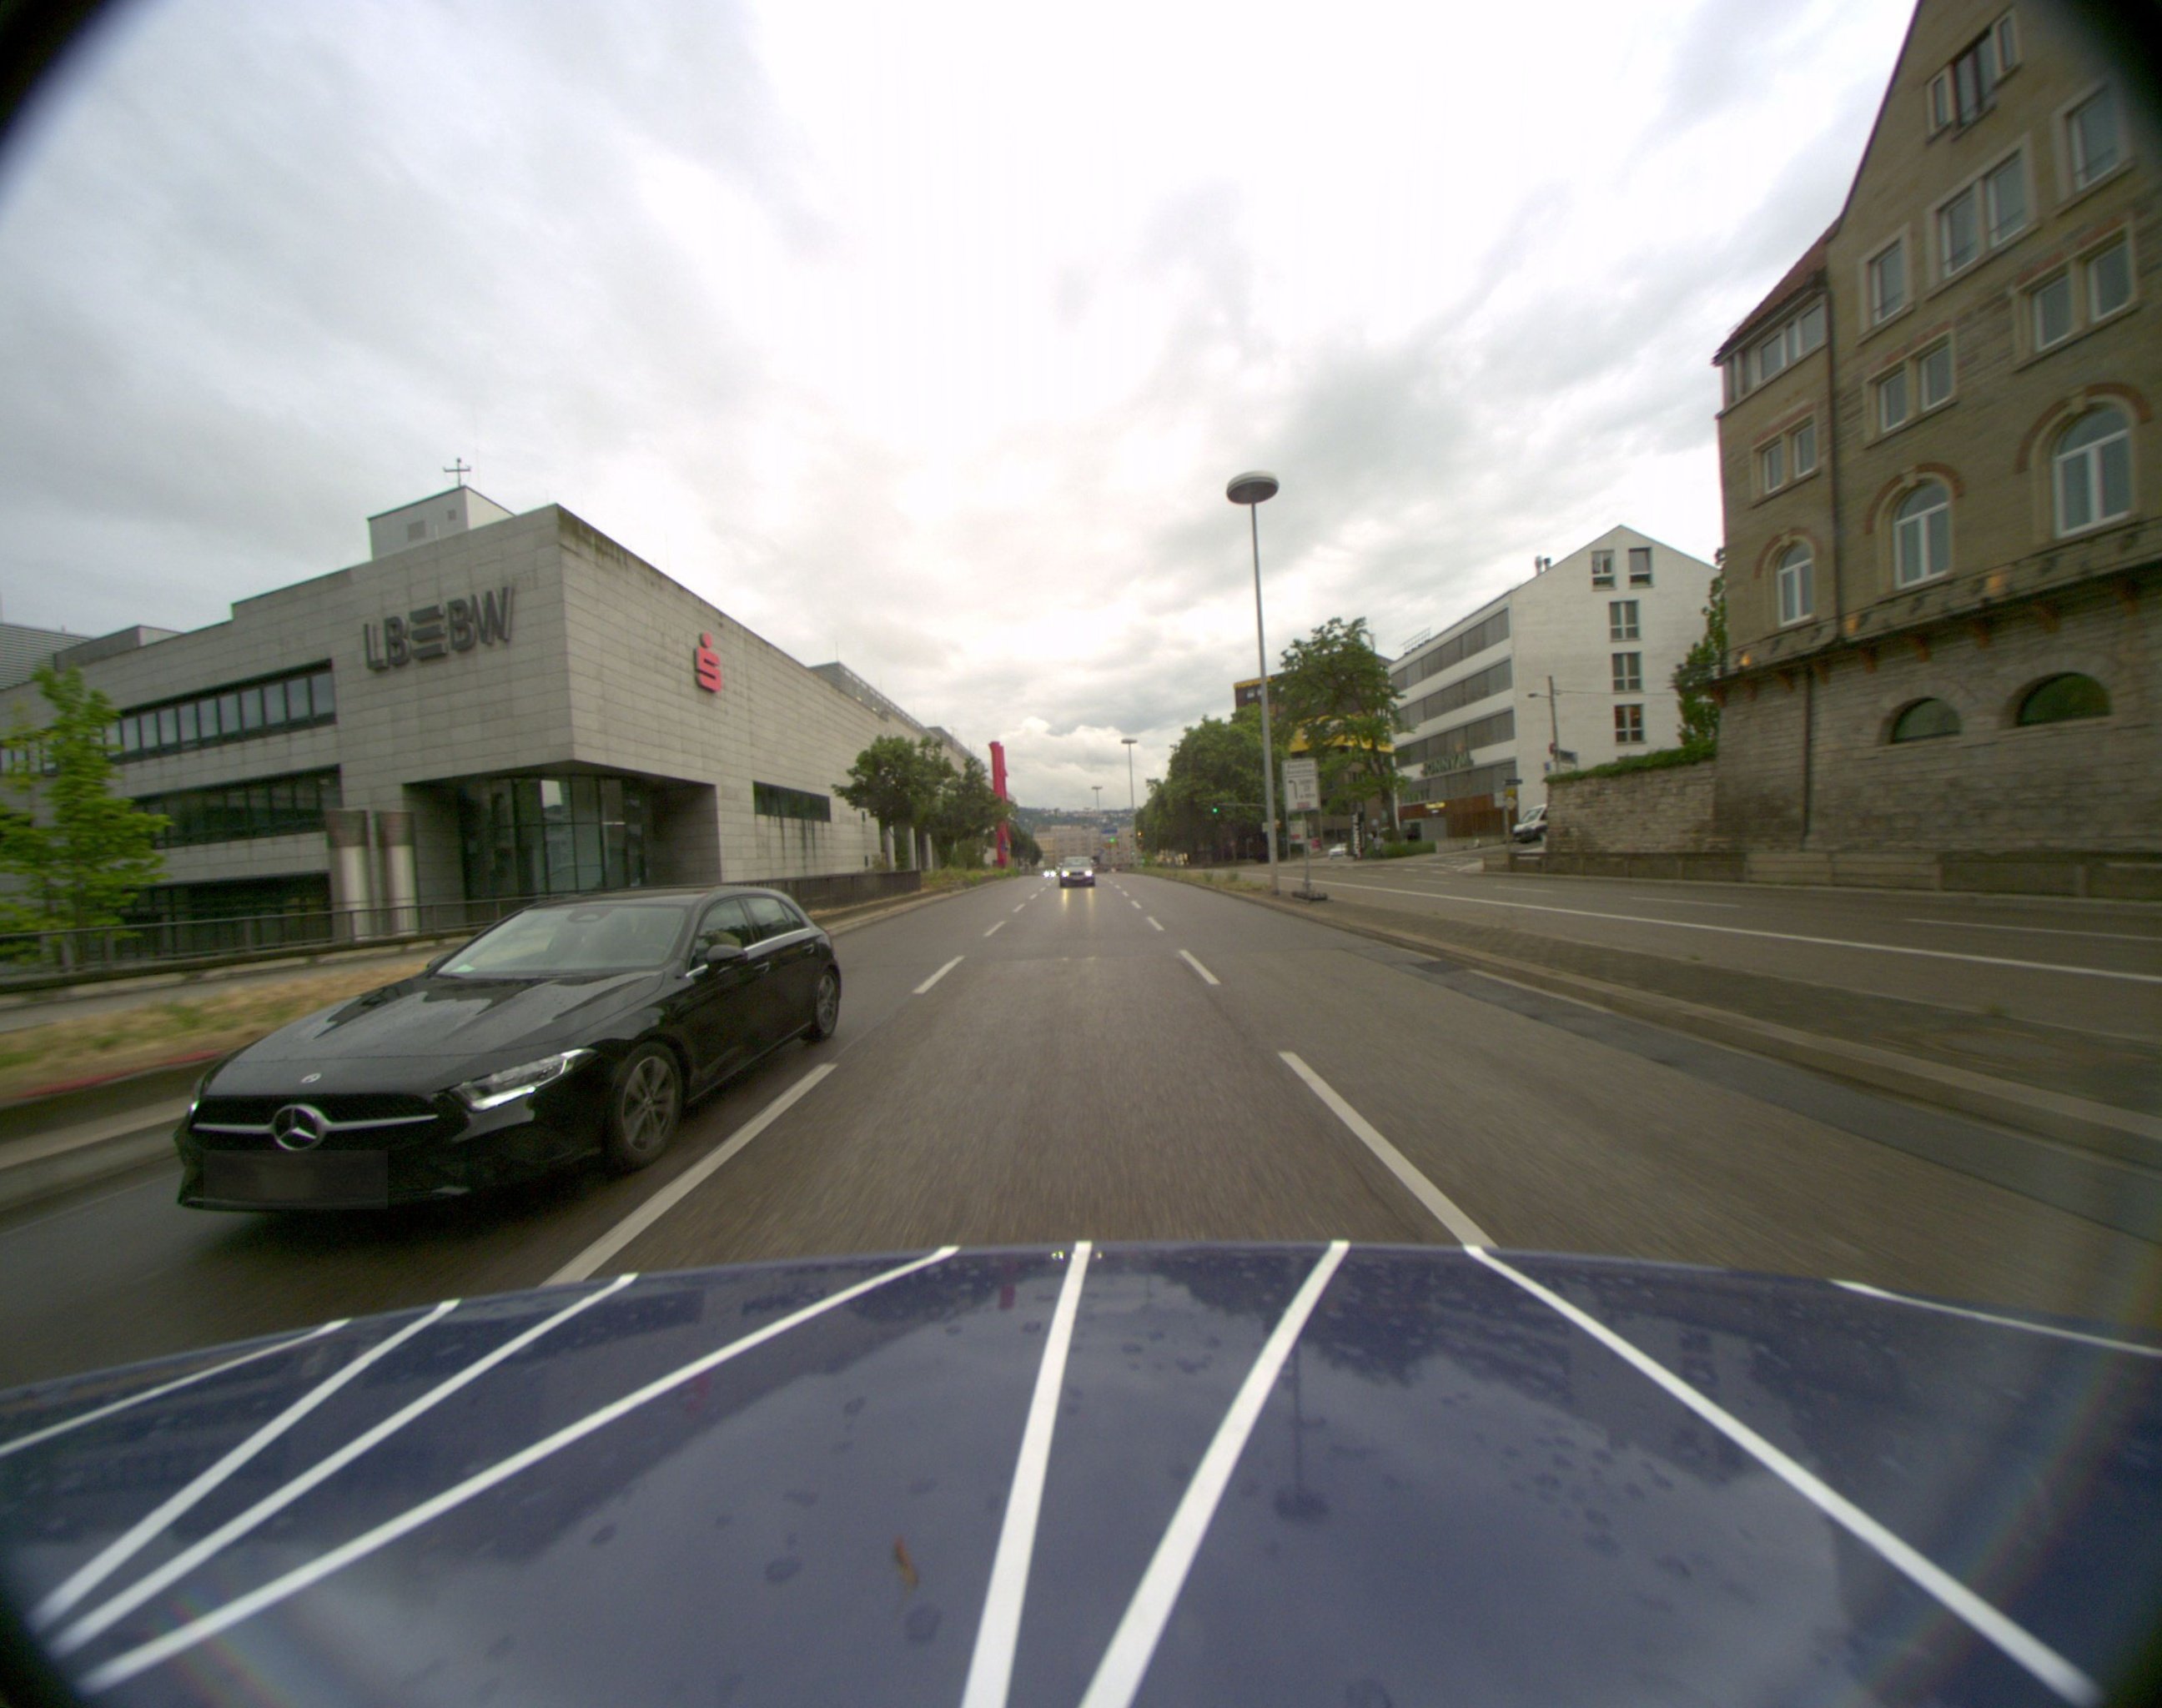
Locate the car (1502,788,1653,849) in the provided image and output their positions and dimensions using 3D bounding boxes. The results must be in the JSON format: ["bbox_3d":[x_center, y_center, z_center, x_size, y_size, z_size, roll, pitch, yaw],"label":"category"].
[{"bbox_3d":[29.085,-2.058,44.735,6.919,2.261,2.516,-9,-4,1],"label":"car"}]

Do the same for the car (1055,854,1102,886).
[{"bbox_3d":[-0.058,0.741,37.441,1.862,1.428,4.206,-2,0,5],"label":"car"}]

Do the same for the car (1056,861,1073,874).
[{"bbox_3d":[-1.981,1.623,91.180,1.863,1.428,4.204,-2,0,-1],"label":"car"}]

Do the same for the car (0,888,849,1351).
[{"bbox_3d":[-3.076,1.043,4.816,1.877,1.428,4.205,-2,0,0],"label":"car"}]

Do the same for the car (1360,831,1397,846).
[{"bbox_3d":[37.778,-2.021,96.556,3.989,1.674,1.824,-3,0,43],"label":"car"}]

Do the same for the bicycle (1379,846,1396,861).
[{"bbox_3d":[21.203,-0.014,52.578,0.458,0.985,1.758,-3,0,0],"label":"bicycle"}]

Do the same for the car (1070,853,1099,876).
[{"bbox_3d":[0.254,0.691,53.369,1.863,1.449,4.205,-2,0,2],"label":"car"}]

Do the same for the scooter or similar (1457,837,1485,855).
[{"bbox_3d":[24.804,-0.515,48.313,1.473,0.916,0.444,-7,-1,-2],"label":"scooter or similar"}]

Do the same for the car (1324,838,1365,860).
[{"bbox_3d":[24.957,-0.498,71.859,1.995,1.644,4.852,-5,0,39],"label":"car"}]

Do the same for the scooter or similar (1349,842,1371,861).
[{"bbox_3d":[20.846,-0.210,56.762,1.758,1.240,0.369,-6,1,-29],"label":"scooter or similar"}]

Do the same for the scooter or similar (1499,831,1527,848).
[{"bbox_3d":[27.322,-0.926,48.070,1.473,0.916,0.444,-7,-1,-2],"label":"scooter or similar"}]
